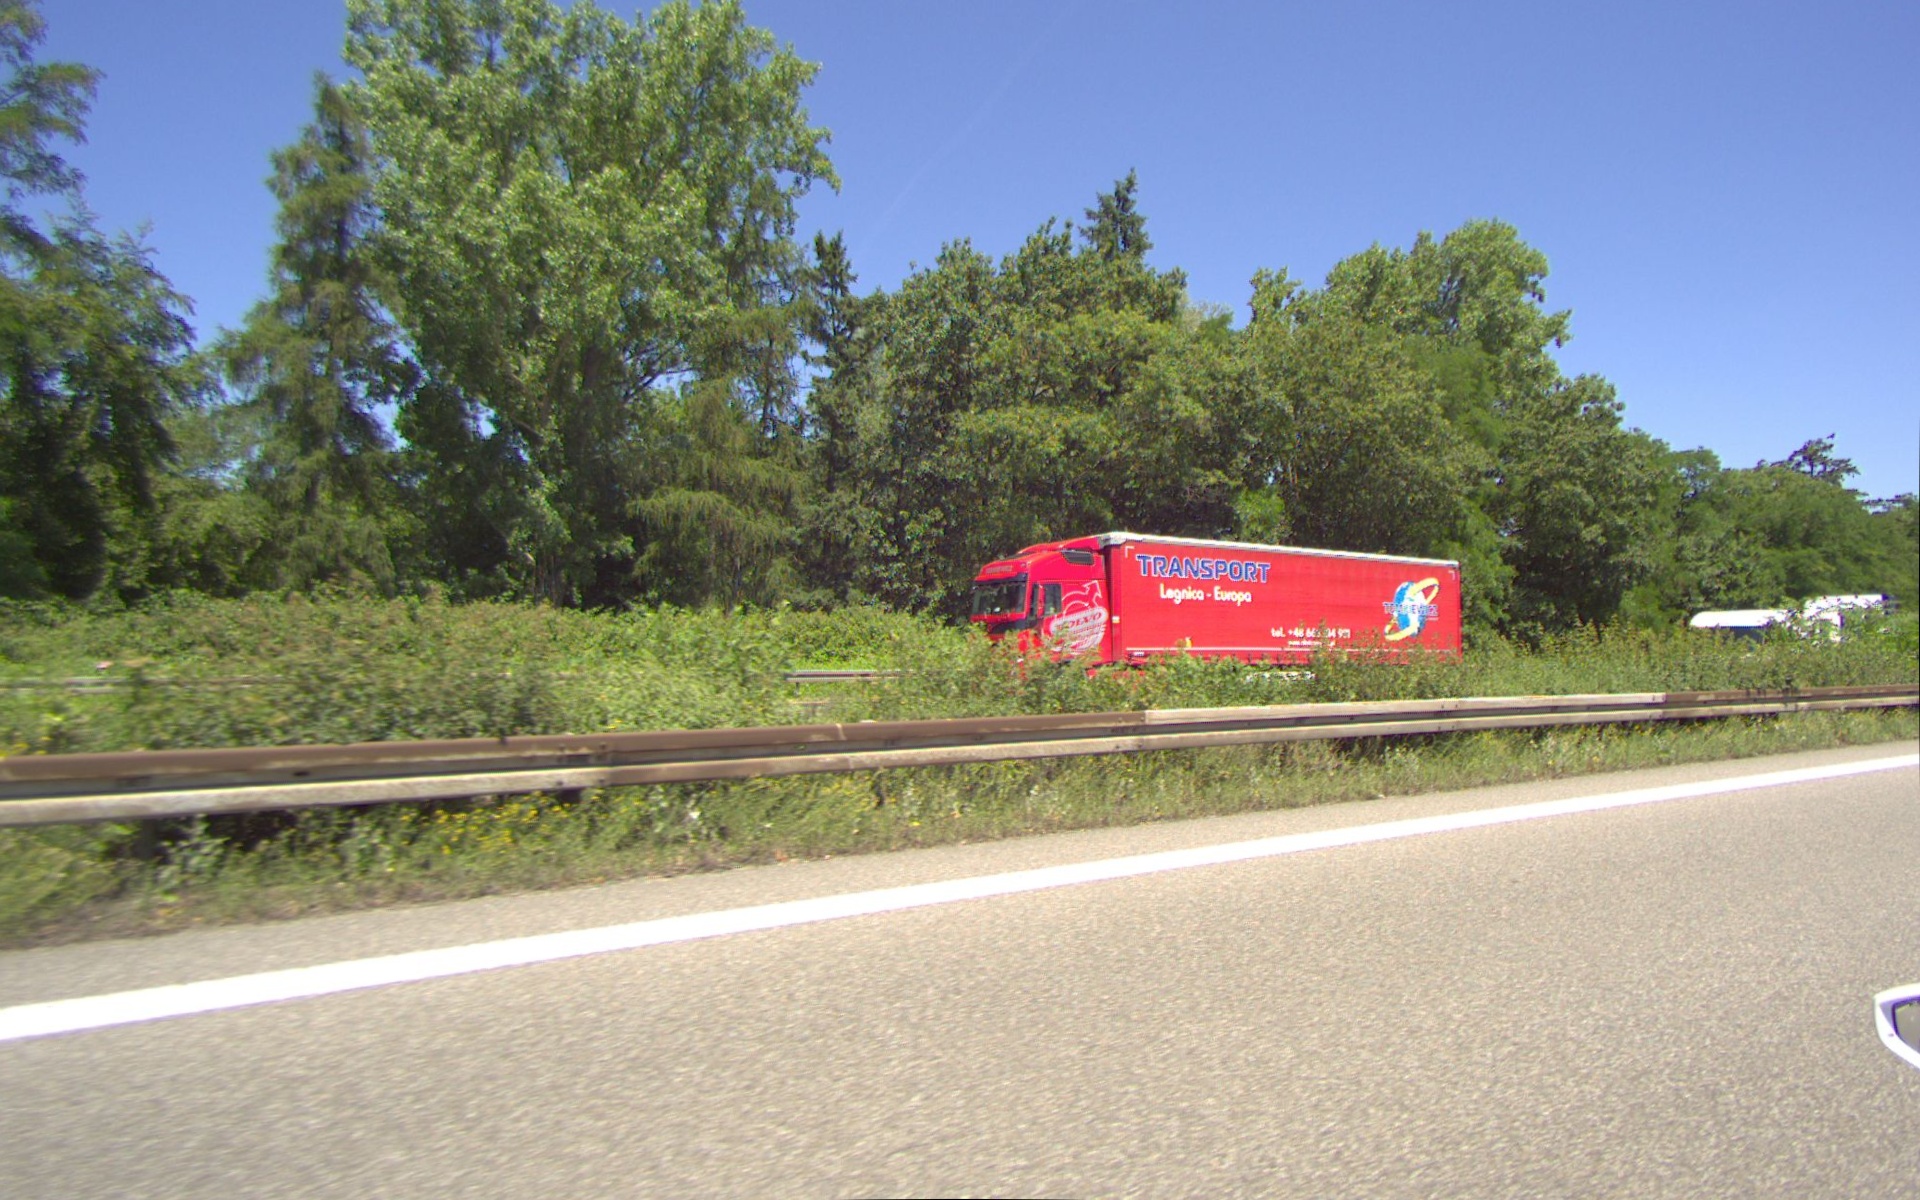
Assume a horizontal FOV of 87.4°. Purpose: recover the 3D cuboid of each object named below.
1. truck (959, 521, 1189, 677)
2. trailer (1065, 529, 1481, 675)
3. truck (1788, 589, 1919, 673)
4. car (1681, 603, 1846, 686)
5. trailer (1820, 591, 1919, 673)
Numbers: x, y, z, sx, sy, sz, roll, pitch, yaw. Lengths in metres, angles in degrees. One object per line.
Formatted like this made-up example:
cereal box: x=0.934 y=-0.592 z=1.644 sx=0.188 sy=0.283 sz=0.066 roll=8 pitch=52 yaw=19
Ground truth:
truck: x=2.829 y=0.011 z=24.711 sx=5.058 sy=3.468 sz=2.585 roll=1 pitch=0 yaw=-31
trailer: x=9.430 y=0.184 z=28.639 sx=13.991 sy=3.463 sz=2.573 roll=1 pitch=0 yaw=-31
truck: x=42.454 y=1.461 z=47.627 sx=6.744 sy=3.755 sz=2.579 roll=1 pitch=0 yaw=-29
car: x=27.174 y=1.395 z=33.898 sx=6.443 sy=2.434 sz=2.290 roll=-1 pitch=2 yaw=-31
trailer: x=48.259 y=1.614 z=50.885 sx=13.521 sy=3.755 sz=2.579 roll=1 pitch=0 yaw=-29
